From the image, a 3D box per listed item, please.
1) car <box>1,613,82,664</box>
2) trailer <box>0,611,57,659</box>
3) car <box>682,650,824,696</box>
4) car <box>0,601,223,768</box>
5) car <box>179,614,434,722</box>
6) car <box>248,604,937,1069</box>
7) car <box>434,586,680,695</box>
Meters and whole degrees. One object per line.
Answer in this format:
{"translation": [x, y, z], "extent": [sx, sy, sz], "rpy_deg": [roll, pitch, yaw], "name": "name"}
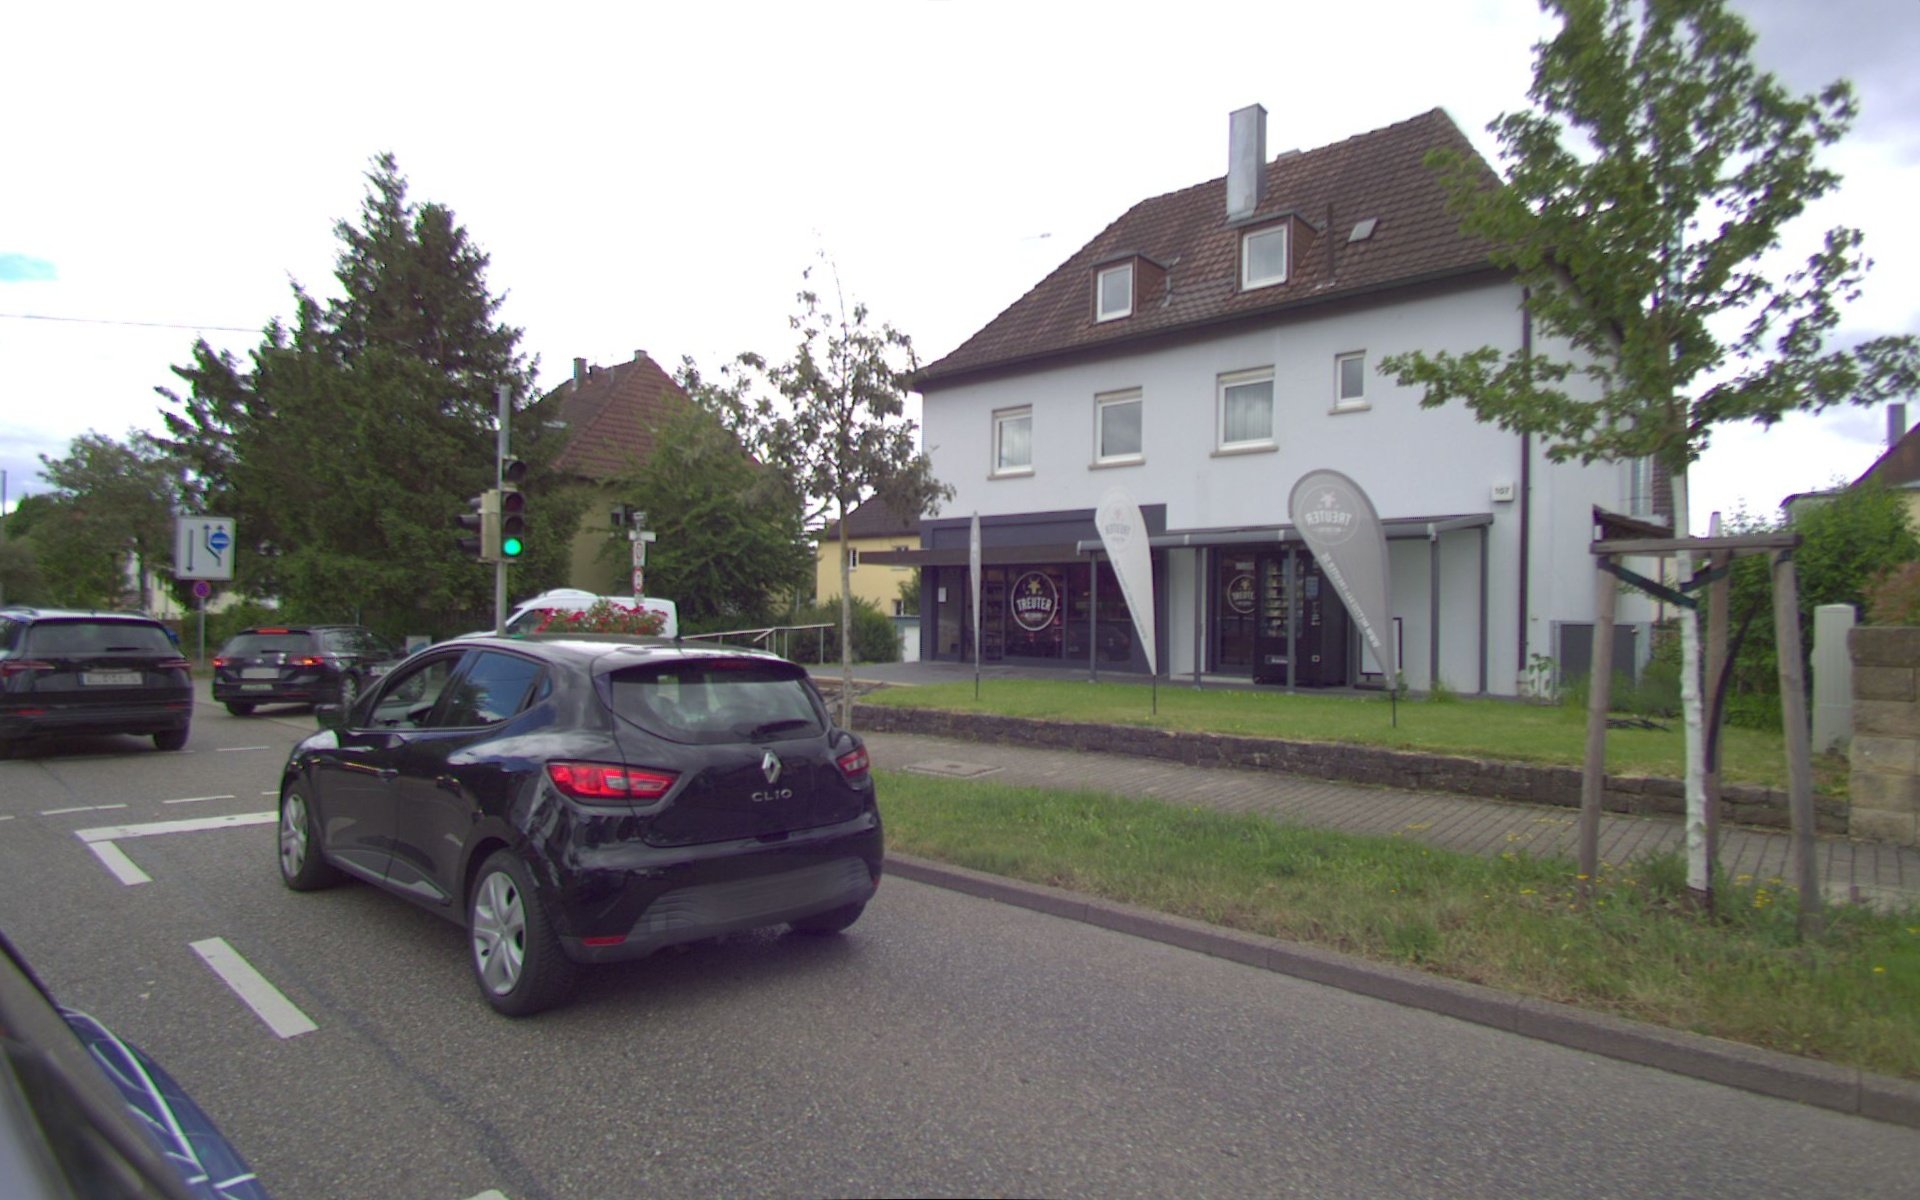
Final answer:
{"translation": [-38.083, 1.576, 41.906], "extent": [4.897, 1.964, 1.972], "rpy_deg": [-2, -3, 42], "name": "car"}
{"translation": [-43.347, 1.619, 46.589], "extent": [4.424, 2.104, 2.132], "rpy_deg": [-2, -2, 42], "name": "trailer"}
{"translation": [-6.524, 2.311, 32.127], "extent": [4.071, 1.364, 1.799], "rpy_deg": [4, -6, -43], "name": "car"}
{"translation": [-10.491, 0.933, 11.859], "extent": [3.993, 1.637, 1.878], "rpy_deg": [-3, -4, 37], "name": "car"}
{"translation": [-11.162, 1.102, 17.756], "extent": [1.968, 1.633, 4.655], "rpy_deg": [0, -2, -8], "name": "car"}
{"translation": [-2.127, 0.830, 5.199], "extent": [3.999, 1.483, 1.599], "rpy_deg": [-1, -4, 42], "name": "car"}
{"translation": [-10.415, 1.108, 26.384], "extent": [5.529, 2.583, 2.136], "rpy_deg": [3, -3, -34], "name": "car"}
